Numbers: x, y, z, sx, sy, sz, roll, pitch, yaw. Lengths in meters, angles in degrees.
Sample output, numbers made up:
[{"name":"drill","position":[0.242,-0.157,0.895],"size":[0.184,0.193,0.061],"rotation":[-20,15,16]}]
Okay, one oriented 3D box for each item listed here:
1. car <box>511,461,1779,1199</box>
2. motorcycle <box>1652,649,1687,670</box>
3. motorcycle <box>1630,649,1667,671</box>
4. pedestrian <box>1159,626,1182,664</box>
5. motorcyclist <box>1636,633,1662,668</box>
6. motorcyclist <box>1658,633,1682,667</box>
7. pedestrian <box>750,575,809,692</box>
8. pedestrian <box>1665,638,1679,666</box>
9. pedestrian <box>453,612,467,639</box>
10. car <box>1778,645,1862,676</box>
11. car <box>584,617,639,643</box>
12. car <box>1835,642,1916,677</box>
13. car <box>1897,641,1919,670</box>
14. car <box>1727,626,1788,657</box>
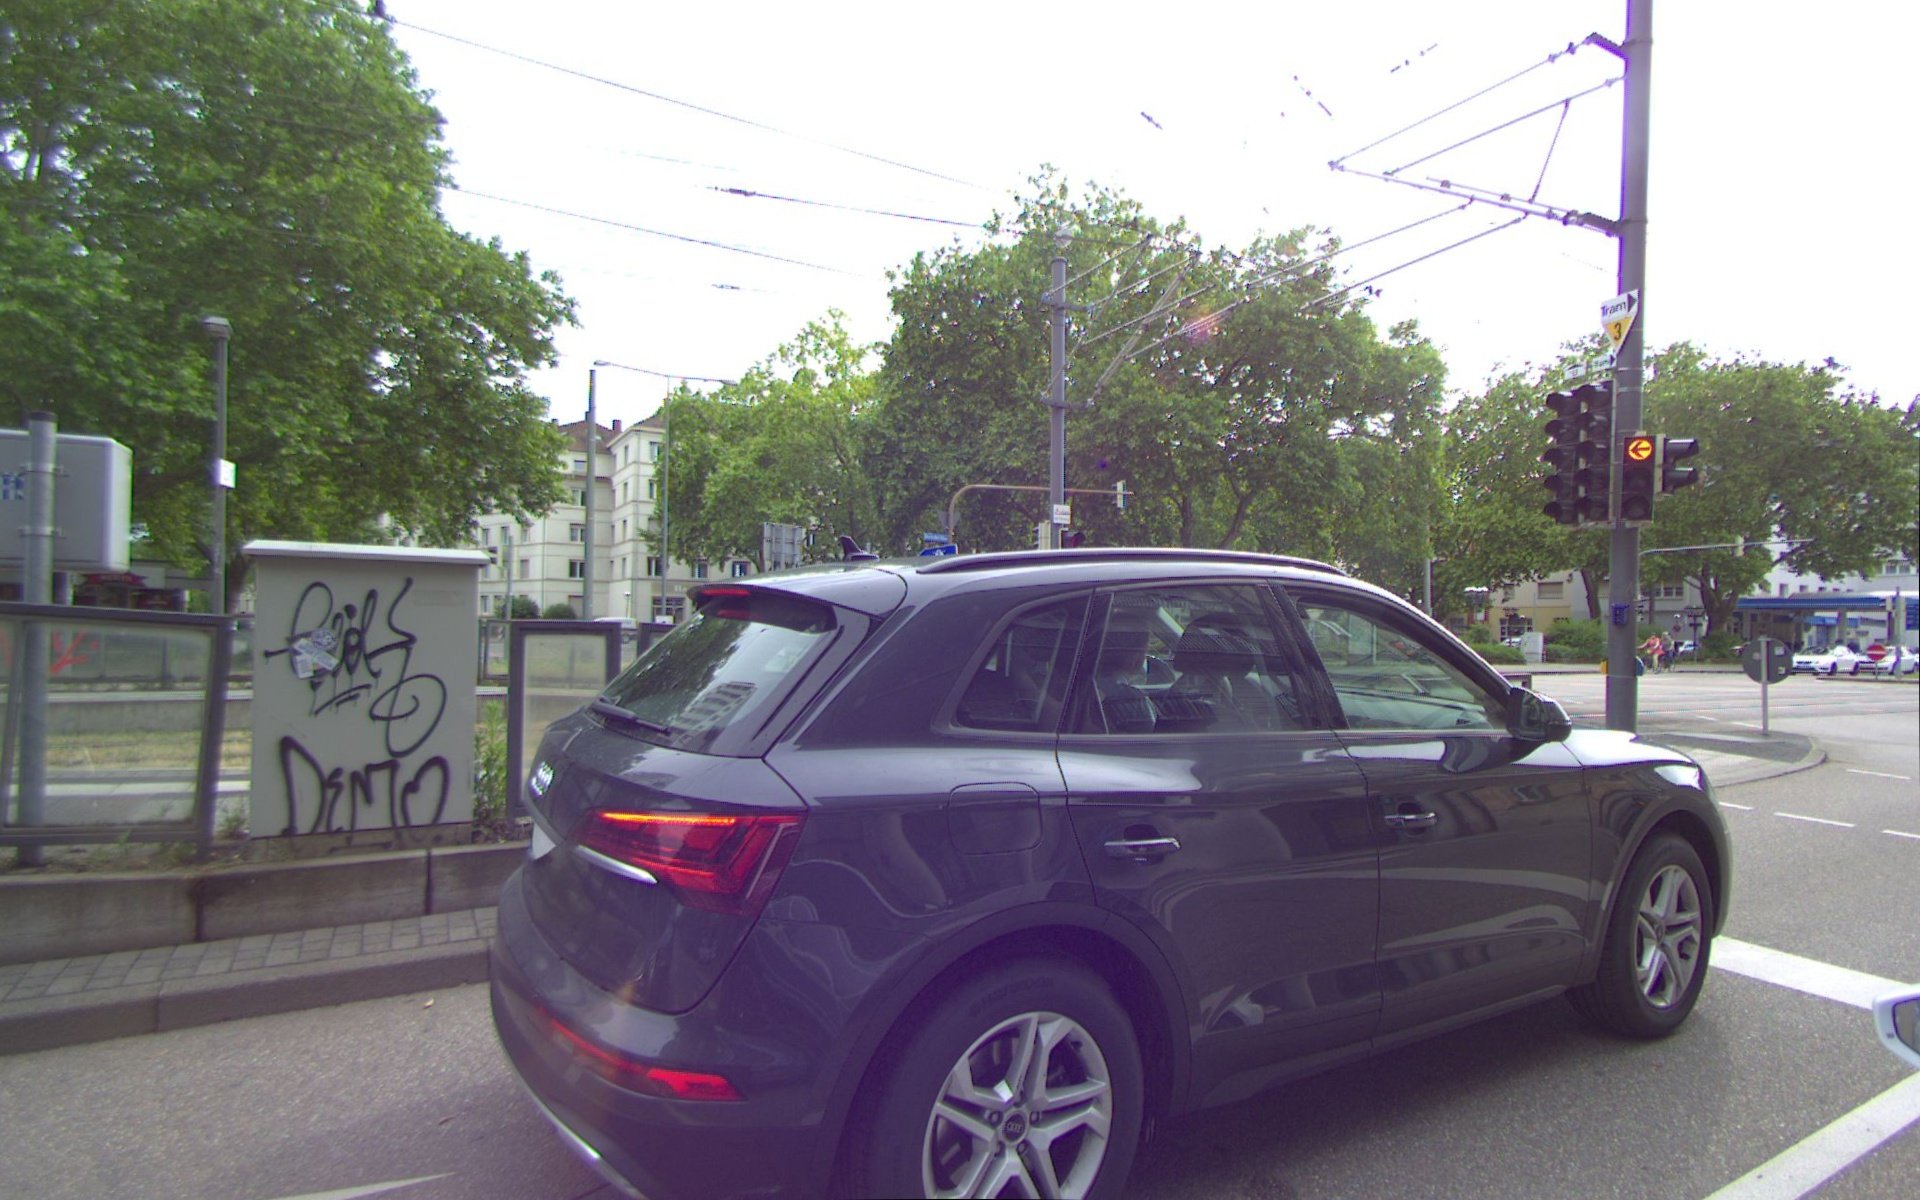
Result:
[{"name":"car","position":[0.833,0.652,3.464],"size":[4.177,1.658,1.725],"rotation":[2,0,-30]},{"name":"motorcycle","position":[33.261,2.767,47.087],"size":[1.928,0.941,0.604],"rotation":[2,-1,-30]},{"name":"motorcycle","position":[30.746,2.680,44.848],"size":[1.928,0.941,0.604],"rotation":[2,-1,-30]},{"name":"pedestrian","position":[8.547,1.821,40.809],"size":[0.648,1.530,0.679],"rotation":[0,-1,44]},{"name":"motorcyclist","position":[30.787,2.251,44.883],"size":[0.863,1.540,0.617],"rotation":[2,-1,-30]},{"name":"motorcyclist","position":[33.274,2.338,47.093],"size":[0.863,1.540,0.617],"rotation":[2,-1,-30]},{"name":"pedestrian","position":[-2.830,0.513,15.712],"size":[0.658,1.773,0.732],"rotation":[2,0,-30]},{"name":"pedestrian","position":[38.003,2.770,53.627],"size":[0.421,1.479,0.474],"rotation":[2,-1,-30]},{"name":"pedestrian","position":[-38.715,1.964,77.807],"size":[0.657,2.040,0.675],"rotation":[2,0,21]},{"name":"car","position":[41.404,2.909,48.353],"size":[4.025,1.338,1.740],"rotation":[2,0,-28]},{"name":"car","position":[-24.361,2.080,70.179],"size":[3.426,1.731,1.630],"rotation":[2,-1,-29]},{"name":"car","position":[46.984,3.022,51.527],"size":[3.953,1.615,1.984],"rotation":[2,0,-30]},{"name":"car","position":[52.787,3.034,54.610],"size":[3.593,1.497,1.649],"rotation":[2,0,-29]},{"name":"car","position":[55.039,2.880,69.318],"size":[3.953,2.040,1.984],"rotation":[2,-1,-30]}]
